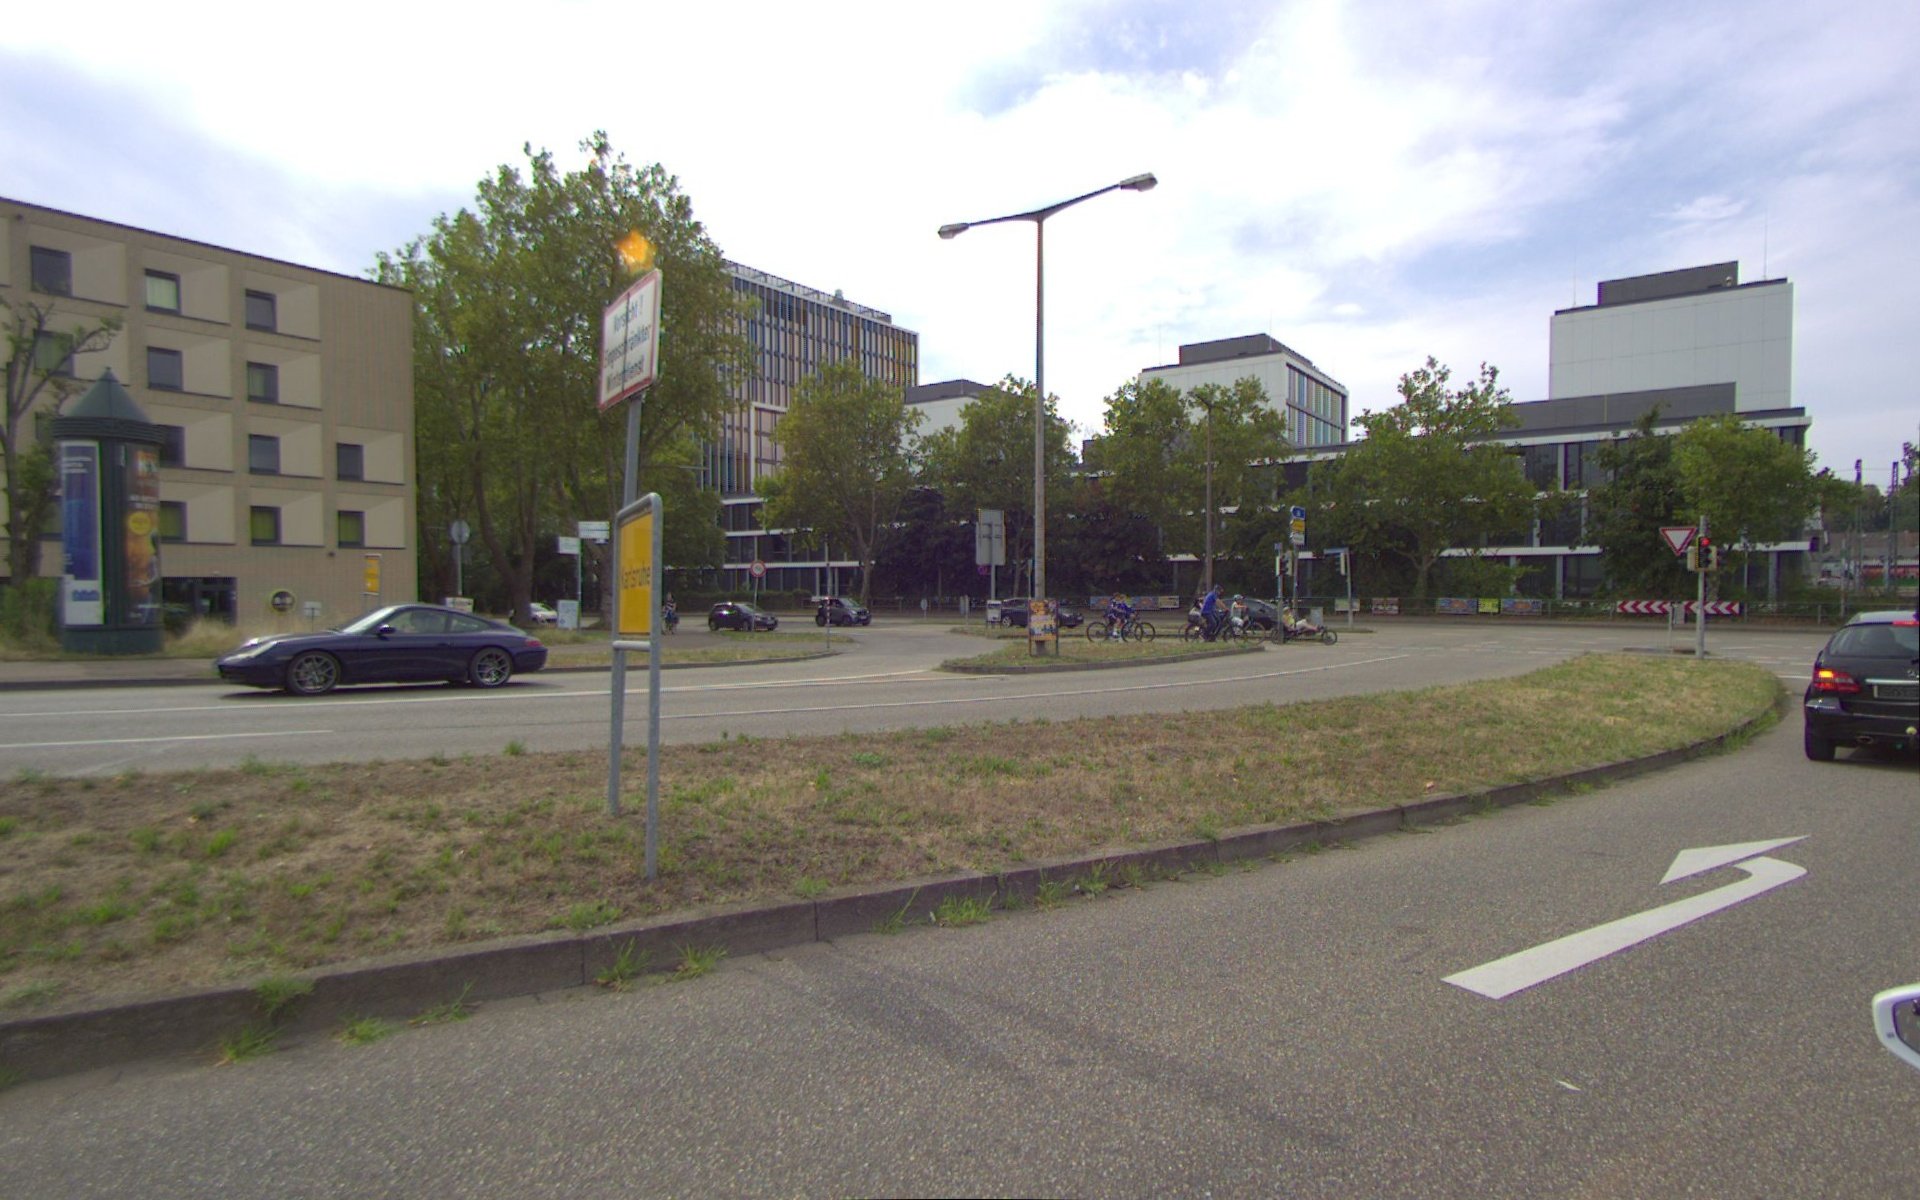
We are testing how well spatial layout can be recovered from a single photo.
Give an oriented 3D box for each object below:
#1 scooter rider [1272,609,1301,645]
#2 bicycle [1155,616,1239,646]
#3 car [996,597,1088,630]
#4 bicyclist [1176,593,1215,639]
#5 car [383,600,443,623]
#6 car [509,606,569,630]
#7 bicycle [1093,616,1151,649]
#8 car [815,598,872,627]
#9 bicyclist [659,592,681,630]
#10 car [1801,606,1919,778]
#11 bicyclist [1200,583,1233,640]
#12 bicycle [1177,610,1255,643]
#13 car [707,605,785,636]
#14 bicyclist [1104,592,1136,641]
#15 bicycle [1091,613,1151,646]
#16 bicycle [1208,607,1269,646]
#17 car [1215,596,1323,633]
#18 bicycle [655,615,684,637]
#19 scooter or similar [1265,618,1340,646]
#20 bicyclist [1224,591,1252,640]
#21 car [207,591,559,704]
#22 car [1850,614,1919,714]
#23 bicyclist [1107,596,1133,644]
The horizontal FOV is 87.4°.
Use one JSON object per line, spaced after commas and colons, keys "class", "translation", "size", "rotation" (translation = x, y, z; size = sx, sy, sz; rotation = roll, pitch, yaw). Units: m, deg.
{"class": "scooter rider", "translation": [11.022, 0.906, 33.877], "size": [0.899, 1.152, 0.808], "rotation": [0, 1, 20]}
{"class": "bicycle", "translation": [7.619, 0.996, 32.346], "size": [2.543, 0.902, 0.704], "rotation": [0, 1, 26]}
{"class": "car", "translation": [3.837, 0.621, 47.249], "size": [4.004, 1.470, 1.696], "rotation": [1, 0, 36]}
{"class": "bicyclist", "translation": [7.588, 0.519, 32.350], "size": [1.096, 1.456, 0.647], "rotation": [0, 1, 25]}
{"class": "car", "translation": [-39.428, 0.802, 72.349], "size": [4.387, 1.581, 1.945], "rotation": [1, -1, 33]}
{"class": "car", "translation": [-26.548, 1.116, 63.304], "size": [3.812, 1.464, 1.726], "rotation": [1, -1, 35]}
{"class": "bicycle", "translation": [5.328, 1.065, 33.095], "size": [1.868, 1.027, 0.629], "rotation": [0, 1, 11]}
{"class": "car", "translation": [-6.173, 0.634, 53.022], "size": [2.674, 1.441, 1.495], "rotation": [1, 0, 34]}
{"class": "bicyclist", "translation": [-12.742, 0.477, 44.222], "size": [0.727, 1.636, 0.920], "rotation": [0, 0, -3]}
{"class": "car", "translation": [10.761, 0.914, 11.158], "size": [4.008, 1.596, 1.740], "rotation": [-1, 2, -44]}
{"class": "bicyclist", "translation": [7.699, 0.352, 30.194], "size": [0.866, 1.678, 0.812], "rotation": [0, 0, 9]}
{"class": "bicycle", "translation": [7.673, 0.791, 30.191], "size": [2.190, 0.965, 0.812], "rotation": [0, 0, 9]}
{"class": "car", "translation": [-10.937, 1.018, 51.194], "size": [3.937, 1.437, 1.791], "rotation": [1, 0, 38]}
{"class": "bicyclist", "translation": [5.147, 0.525, 32.259], "size": [0.999, 1.560, 0.629], "rotation": [0, 1, 8]}
{"class": "bicycle", "translation": [5.171, 0.954, 32.263], "size": [1.868, 1.027, 0.629], "rotation": [0, 1, 8]}
{"class": "bicycle", "translation": [9.103, 0.848, 32.845], "size": [1.871, 1.226, 0.642], "rotation": [0, 1, 25]}
{"class": "car", "translation": [12.552, 0.570, 40.770], "size": [3.993, 1.386, 1.701], "rotation": [1, 0, 25]}
{"class": "bicycle", "translation": [-12.759, 1.136, 44.189], "size": [0.727, 0.921, 2.118], "rotation": [0, 0, -3]}
{"class": "scooter or similar", "translation": [11.486, 1.056, 33.710], "size": [2.339, 0.861, 0.808], "rotation": [0, 1, 21]}
{"class": "bicyclist", "translation": [9.088, 0.492, 32.836], "size": [0.767, 1.602, 0.654], "rotation": [0, 1, 25]}
{"class": "car", "translation": [-8.594, 0.640, 15.235], "size": [1.803, 1.465, 4.325], "rotation": [1, 0, 45]}
{"class": "car", "translation": [16.097, 0.988, 16.611], "size": [1.796, 1.433, 4.755], "rotation": [1, 1, 39]}
{"class": "bicyclist", "translation": [5.282, 0.647, 33.090], "size": [0.824, 1.550, 0.629], "rotation": [0, 1, 11]}
